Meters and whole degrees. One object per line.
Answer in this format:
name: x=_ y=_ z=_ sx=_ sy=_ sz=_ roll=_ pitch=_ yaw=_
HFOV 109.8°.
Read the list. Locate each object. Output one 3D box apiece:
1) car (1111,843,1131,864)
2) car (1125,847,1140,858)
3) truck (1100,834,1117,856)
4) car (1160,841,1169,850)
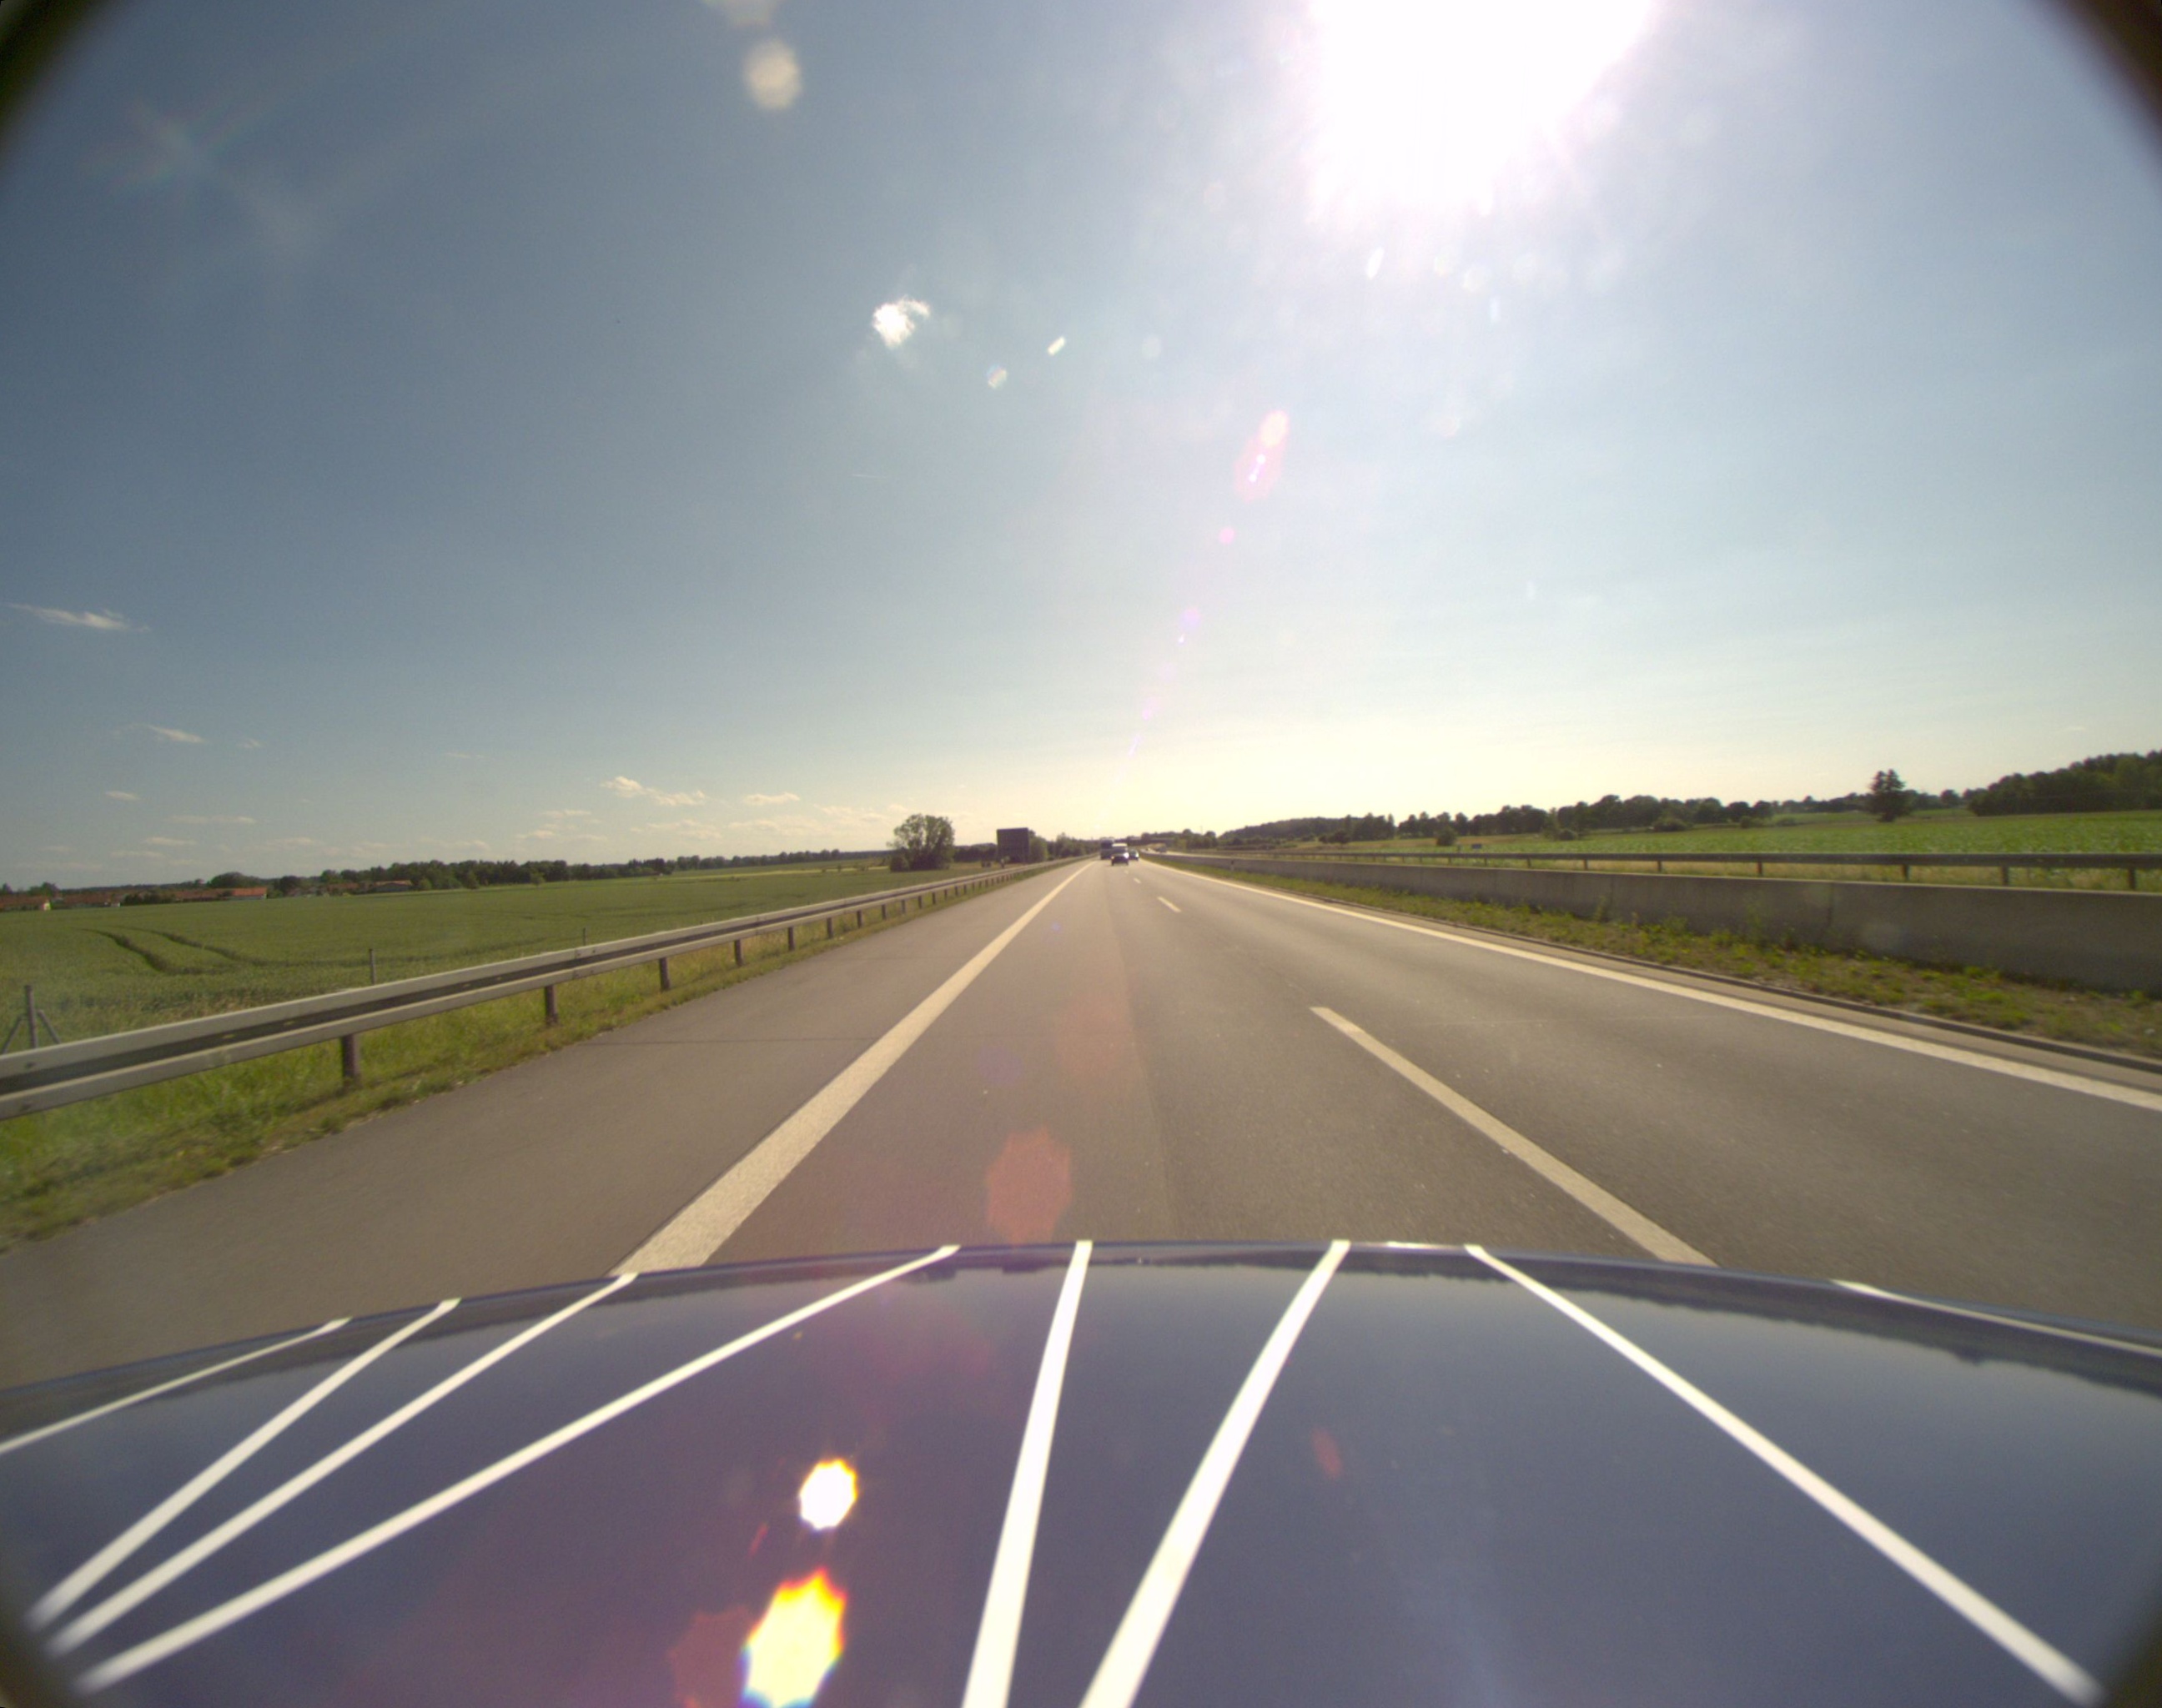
car: x=4.419 y=-0.052 z=83.948 sx=2.030 sy=2.225 sz=4.819 roll=-2 pitch=0 yaw=3
car: x=7.730 y=-0.219 z=114.232 sx=2.030 sy=1.600 sz=4.818 roll=-1 pitch=0 yaw=2
truck: x=5.181 y=-1.635 z=140.799 sx=2.762 sy=3.792 sz=7.518 roll=-3 pitch=1 yaw=3
car: x=26.603 y=-2.717 z=242.734 sx=2.392 sy=2.543 sz=5.454 roll=-1 pitch=0 yaw=2
